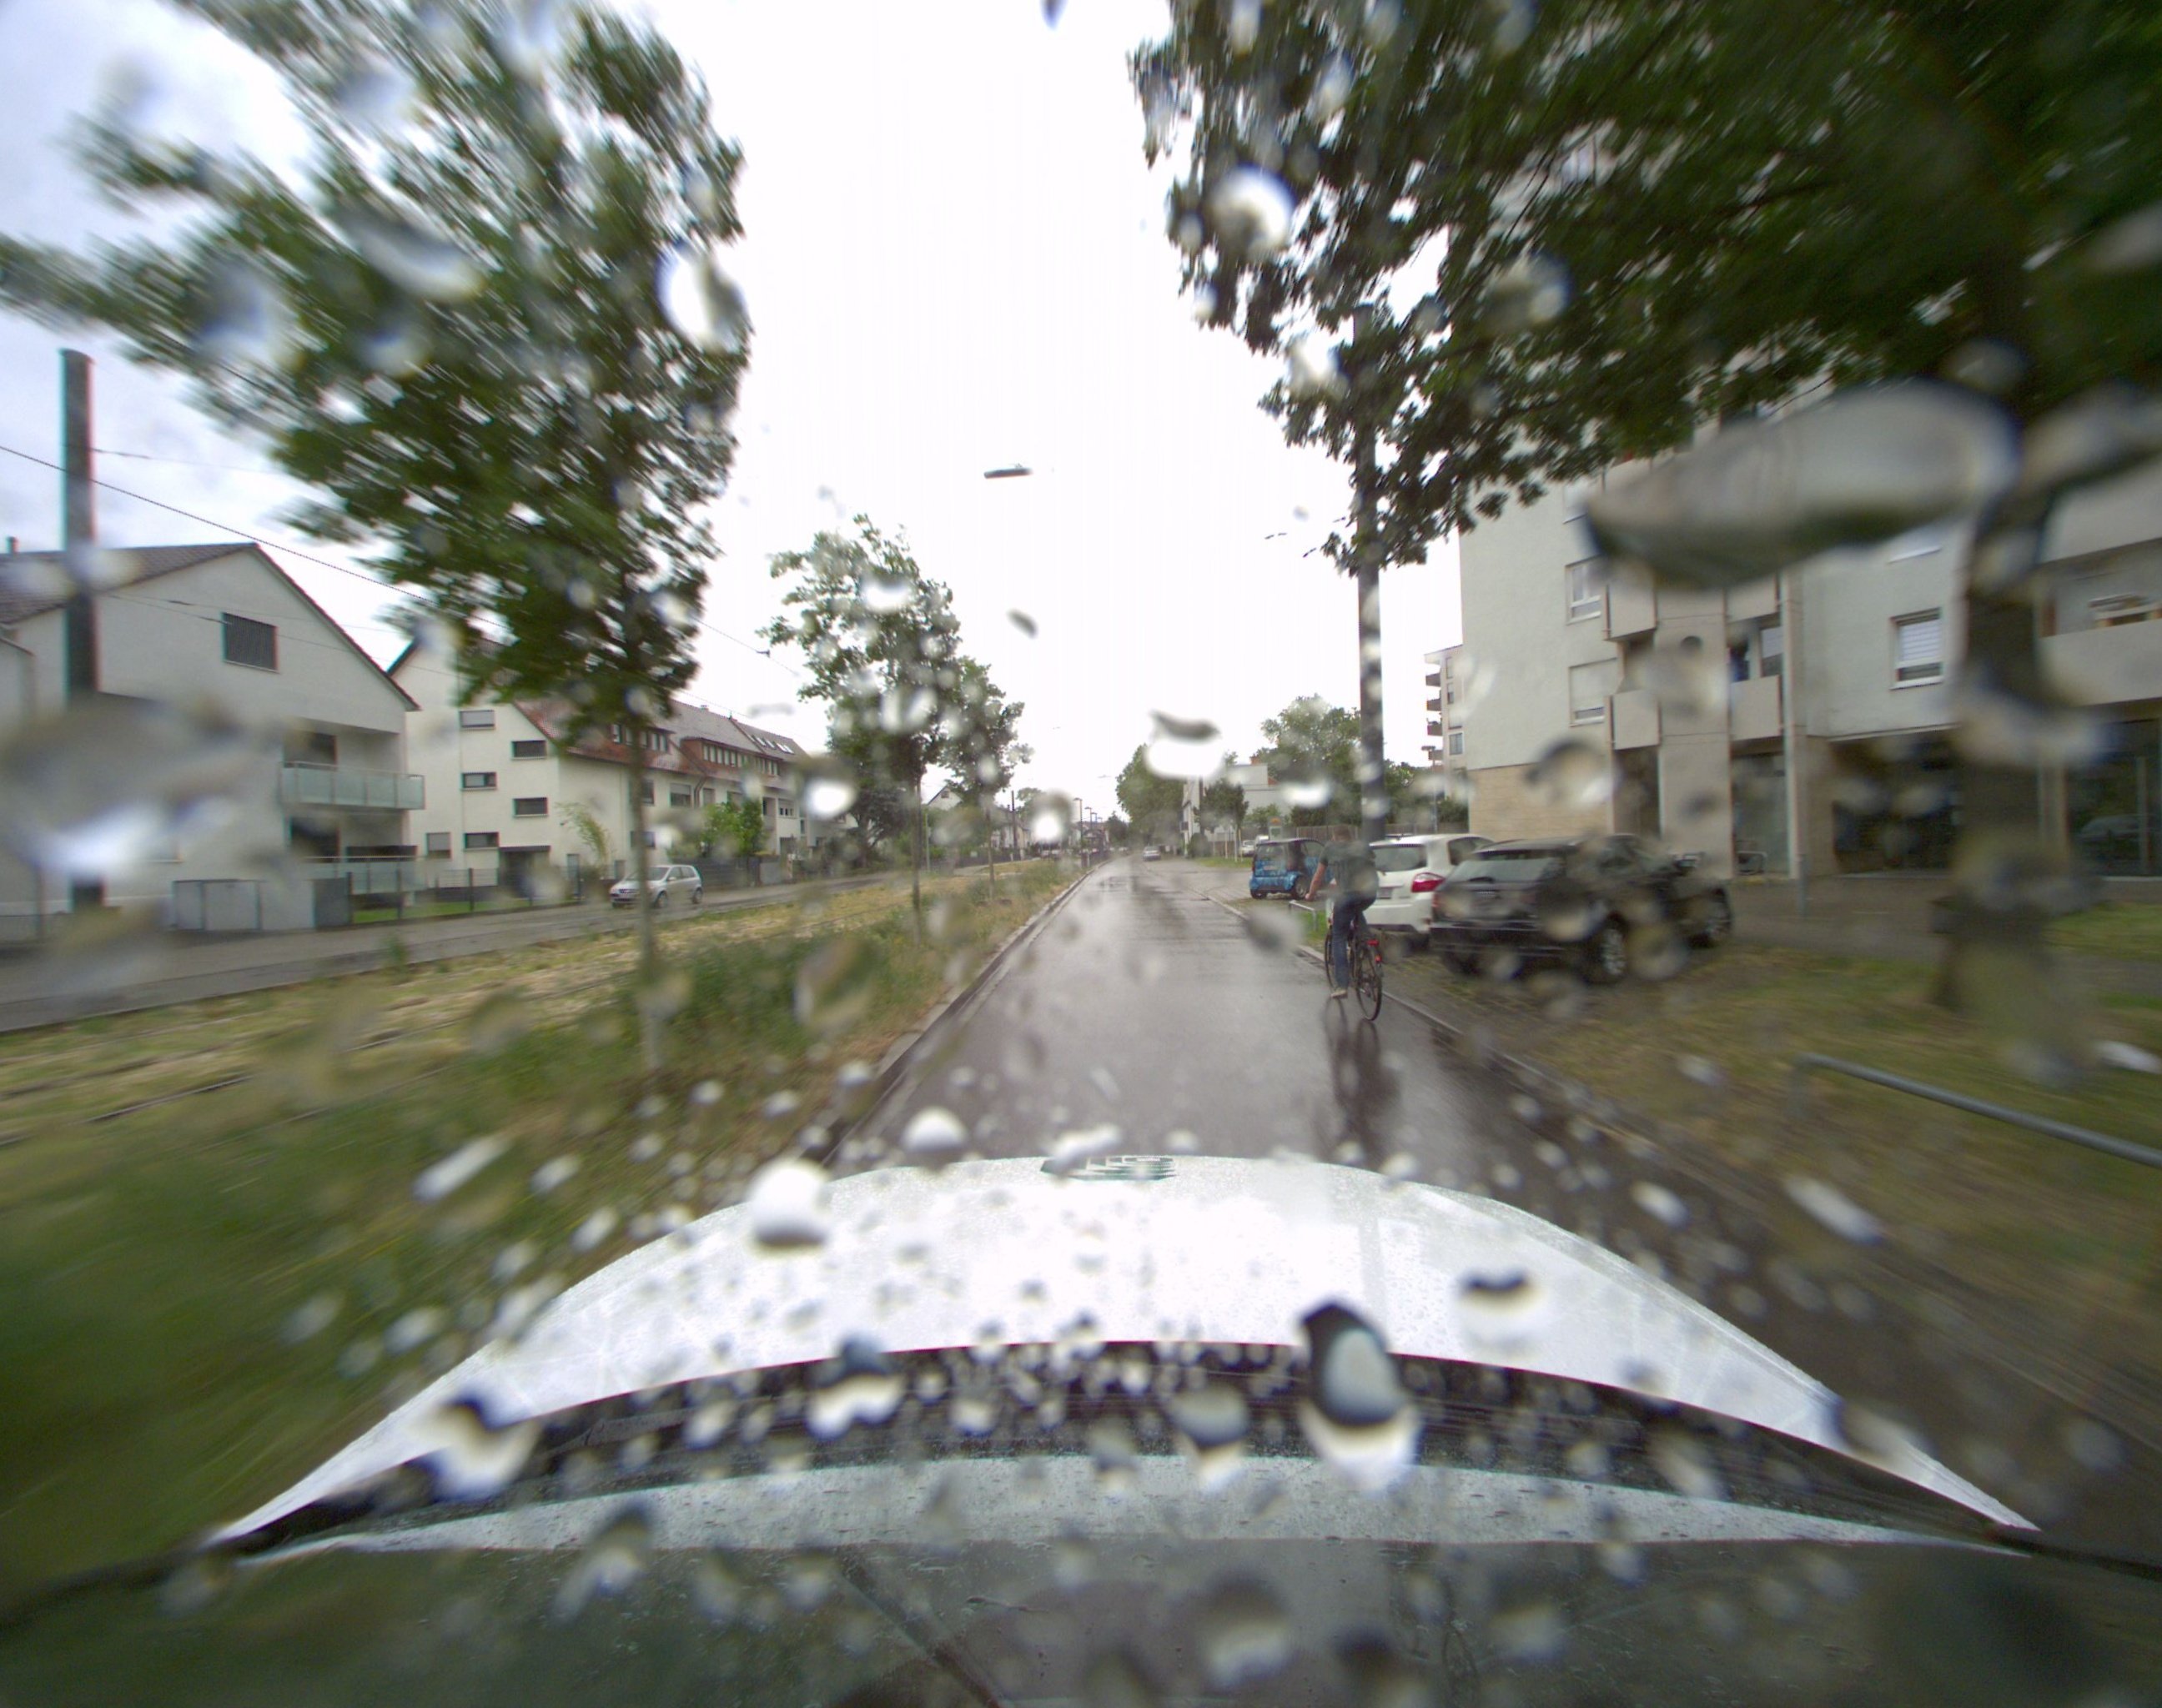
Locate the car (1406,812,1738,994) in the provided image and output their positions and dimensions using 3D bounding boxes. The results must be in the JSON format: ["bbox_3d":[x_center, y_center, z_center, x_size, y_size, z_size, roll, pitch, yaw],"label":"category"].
[{"bbox_3d":[5.568,0.398,9.081,3.962,1.431,1.666,-6,2,-35],"label":"car"}]

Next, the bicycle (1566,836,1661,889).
[{"bbox_3d":[10.811,0.162,16.626,0.659,1.006,2.059,-1,0,3],"label":"bicycle"}]

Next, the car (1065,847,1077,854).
[{"bbox_3d":[-2.095,-0.783,175.590,1.918,1.486,4.008,-1,0,7],"label":"car"}]

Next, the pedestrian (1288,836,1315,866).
[{"bbox_3d":[11.524,-0.154,42.581,0.840,1.517,1.085,-1,-1,-27],"label":"pedestrian"}]

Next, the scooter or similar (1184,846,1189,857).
[{"bbox_3d":[10.443,-0.234,80.564,0.331,1.085,1.399,-1,0,9],"label":"scooter or similar"}]

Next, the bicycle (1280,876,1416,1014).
[{"bbox_3d":[2.452,0.776,7.723,0.535,1.093,1.946,-1,0,-3],"label":"bicycle"}]

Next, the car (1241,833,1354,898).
[{"bbox_3d":[5.701,0.278,21.418,2.577,1.548,1.585,-2,0,-38],"label":"car"}]

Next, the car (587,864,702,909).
[{"bbox_3d":[-15.167,1.094,28.557,1.987,1.414,3.658,-1,0,1],"label":"car"}]

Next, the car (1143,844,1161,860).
[{"bbox_3d":[7.121,-0.210,82.311,1.642,1.405,4.655,-5,-1,5],"label":"car"}]

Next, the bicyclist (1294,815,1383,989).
[{"bbox_3d":[2.434,0.430,7.752,0.533,1.559,0.771,-1,-1,-4],"label":"bicyclist"}]

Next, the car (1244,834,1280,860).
[{"bbox_3d":[13.080,-0.528,59.000,1.954,1.784,4.905,-1,1,5],"label":"car"}]

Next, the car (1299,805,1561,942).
[{"bbox_3d":[5.336,0.193,12.218,4.207,1.547,1.745,-6,2,-38],"label":"car"}]

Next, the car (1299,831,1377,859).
[{"bbox_3d":[14.333,-0.500,45.564,2.003,1.441,3.967,-1,0,-25],"label":"car"}]

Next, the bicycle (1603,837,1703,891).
[{"bbox_3d":[11.600,0.195,16.613,0.659,1.006,2.059,-1,0,3],"label":"bicycle"}]

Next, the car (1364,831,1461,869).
[{"bbox_3d":[14.822,-0.218,36.379,4.123,1.616,1.799,-1,1,-28],"label":"car"}]

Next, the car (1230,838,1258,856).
[{"bbox_3d":[14.275,-0.621,71.381,1.953,1.534,4.371,-1,1,6],"label":"car"}]
